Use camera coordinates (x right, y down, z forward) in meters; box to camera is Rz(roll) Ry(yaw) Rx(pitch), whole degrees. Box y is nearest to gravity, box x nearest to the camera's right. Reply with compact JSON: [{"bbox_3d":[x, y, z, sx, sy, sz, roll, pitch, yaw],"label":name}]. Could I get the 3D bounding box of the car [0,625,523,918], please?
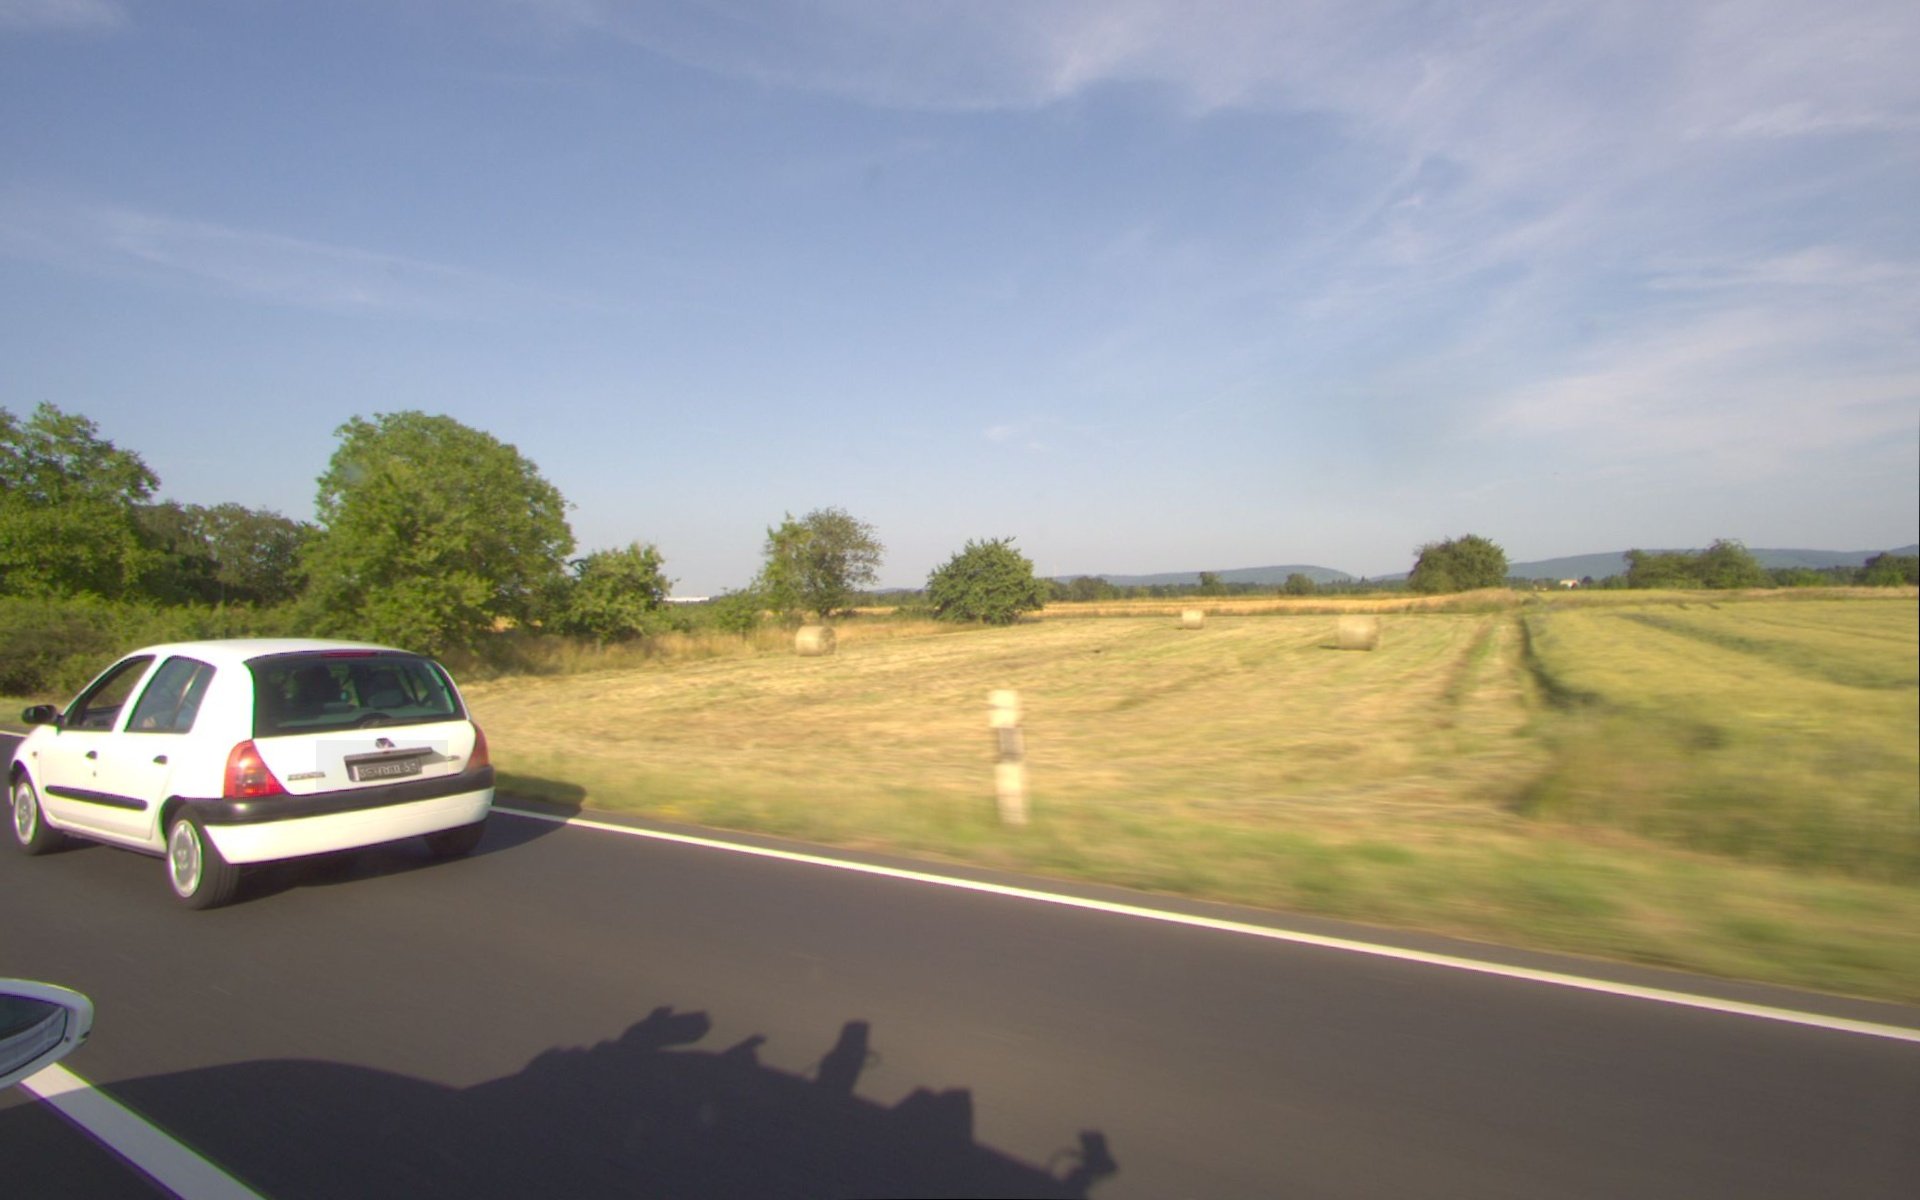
[{"bbox_3d":[-4.766,0.898,6.559,3.896,1.405,1.614,-2,-2,33],"label":"car"}]
